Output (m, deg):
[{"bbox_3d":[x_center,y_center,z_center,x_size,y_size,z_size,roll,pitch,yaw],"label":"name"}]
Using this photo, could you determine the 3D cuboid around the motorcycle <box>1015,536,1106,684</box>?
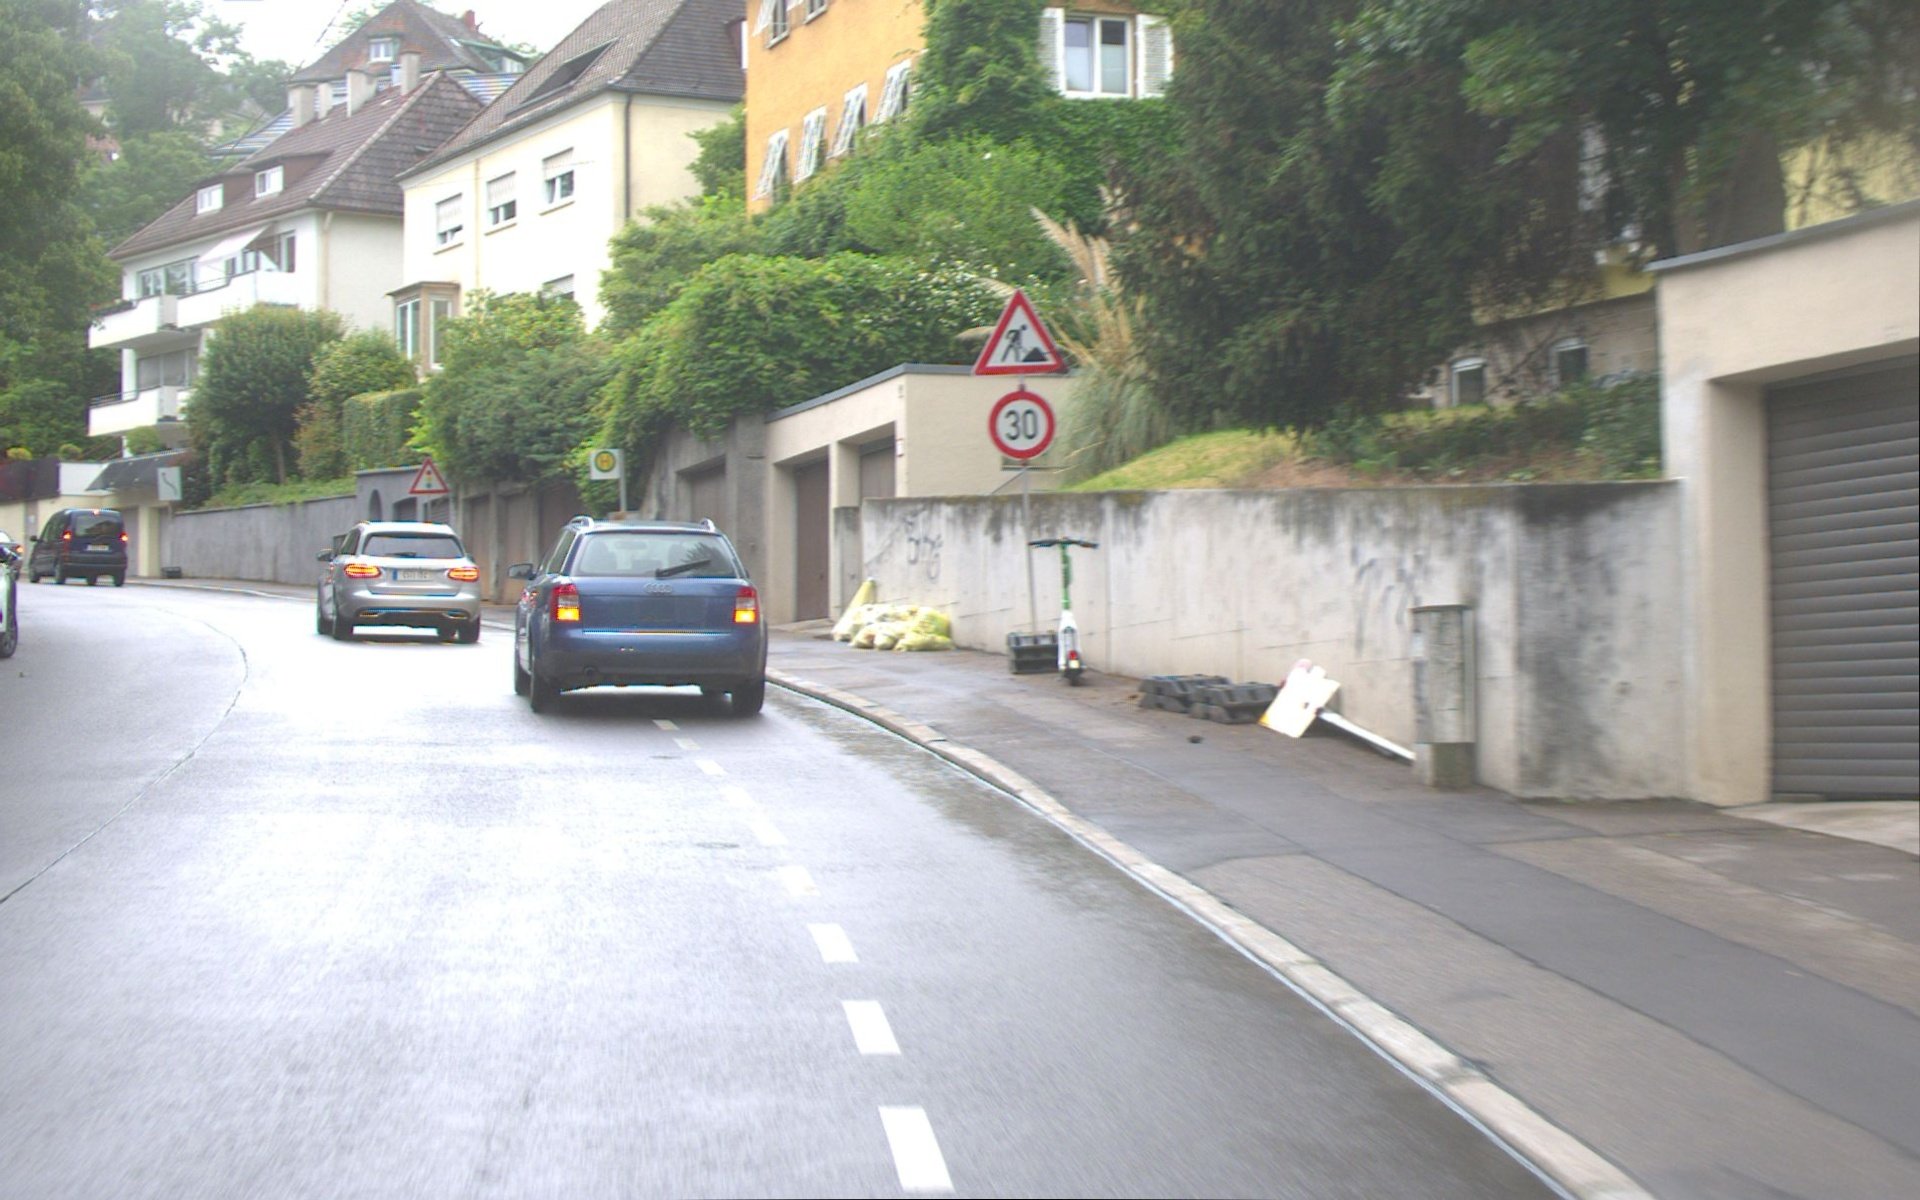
[{"bbox_3d":[0.791,0.064,27.419,0.548,1.128,1.440,-1,1,-5],"label":"motorcycle"}]

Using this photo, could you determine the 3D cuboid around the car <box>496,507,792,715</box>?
[{"bbox_3d":[-2.536,0.048,26.690,1.853,1.409,4.363,-2,1,-10],"label":"car"}]

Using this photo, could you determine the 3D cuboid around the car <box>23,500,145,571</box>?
[{"bbox_3d":[-21.433,-1.576,83.987,1.993,1.678,4.001,-2,2,-28],"label":"car"}]

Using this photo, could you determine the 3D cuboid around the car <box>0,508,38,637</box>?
[{"bbox_3d":[-12.863,-0.328,43.982,1.993,1.568,4.001,-2,1,-15],"label":"car"}]

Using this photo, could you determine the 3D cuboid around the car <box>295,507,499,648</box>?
[{"bbox_3d":[-7.131,-0.328,43.231,1.949,1.556,4.265,0,3,-17],"label":"car"}]

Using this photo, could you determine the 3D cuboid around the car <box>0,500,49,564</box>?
[{"bbox_3d":[-25.915,-1.805,92.002,1.993,1.678,4.000,-2,2,-30],"label":"car"}]

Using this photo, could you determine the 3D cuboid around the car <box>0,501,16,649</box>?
[{"bbox_3d":[-11.629,-0.284,38.656,1.877,1.590,4.001,-1,1,-15],"label":"car"}]
